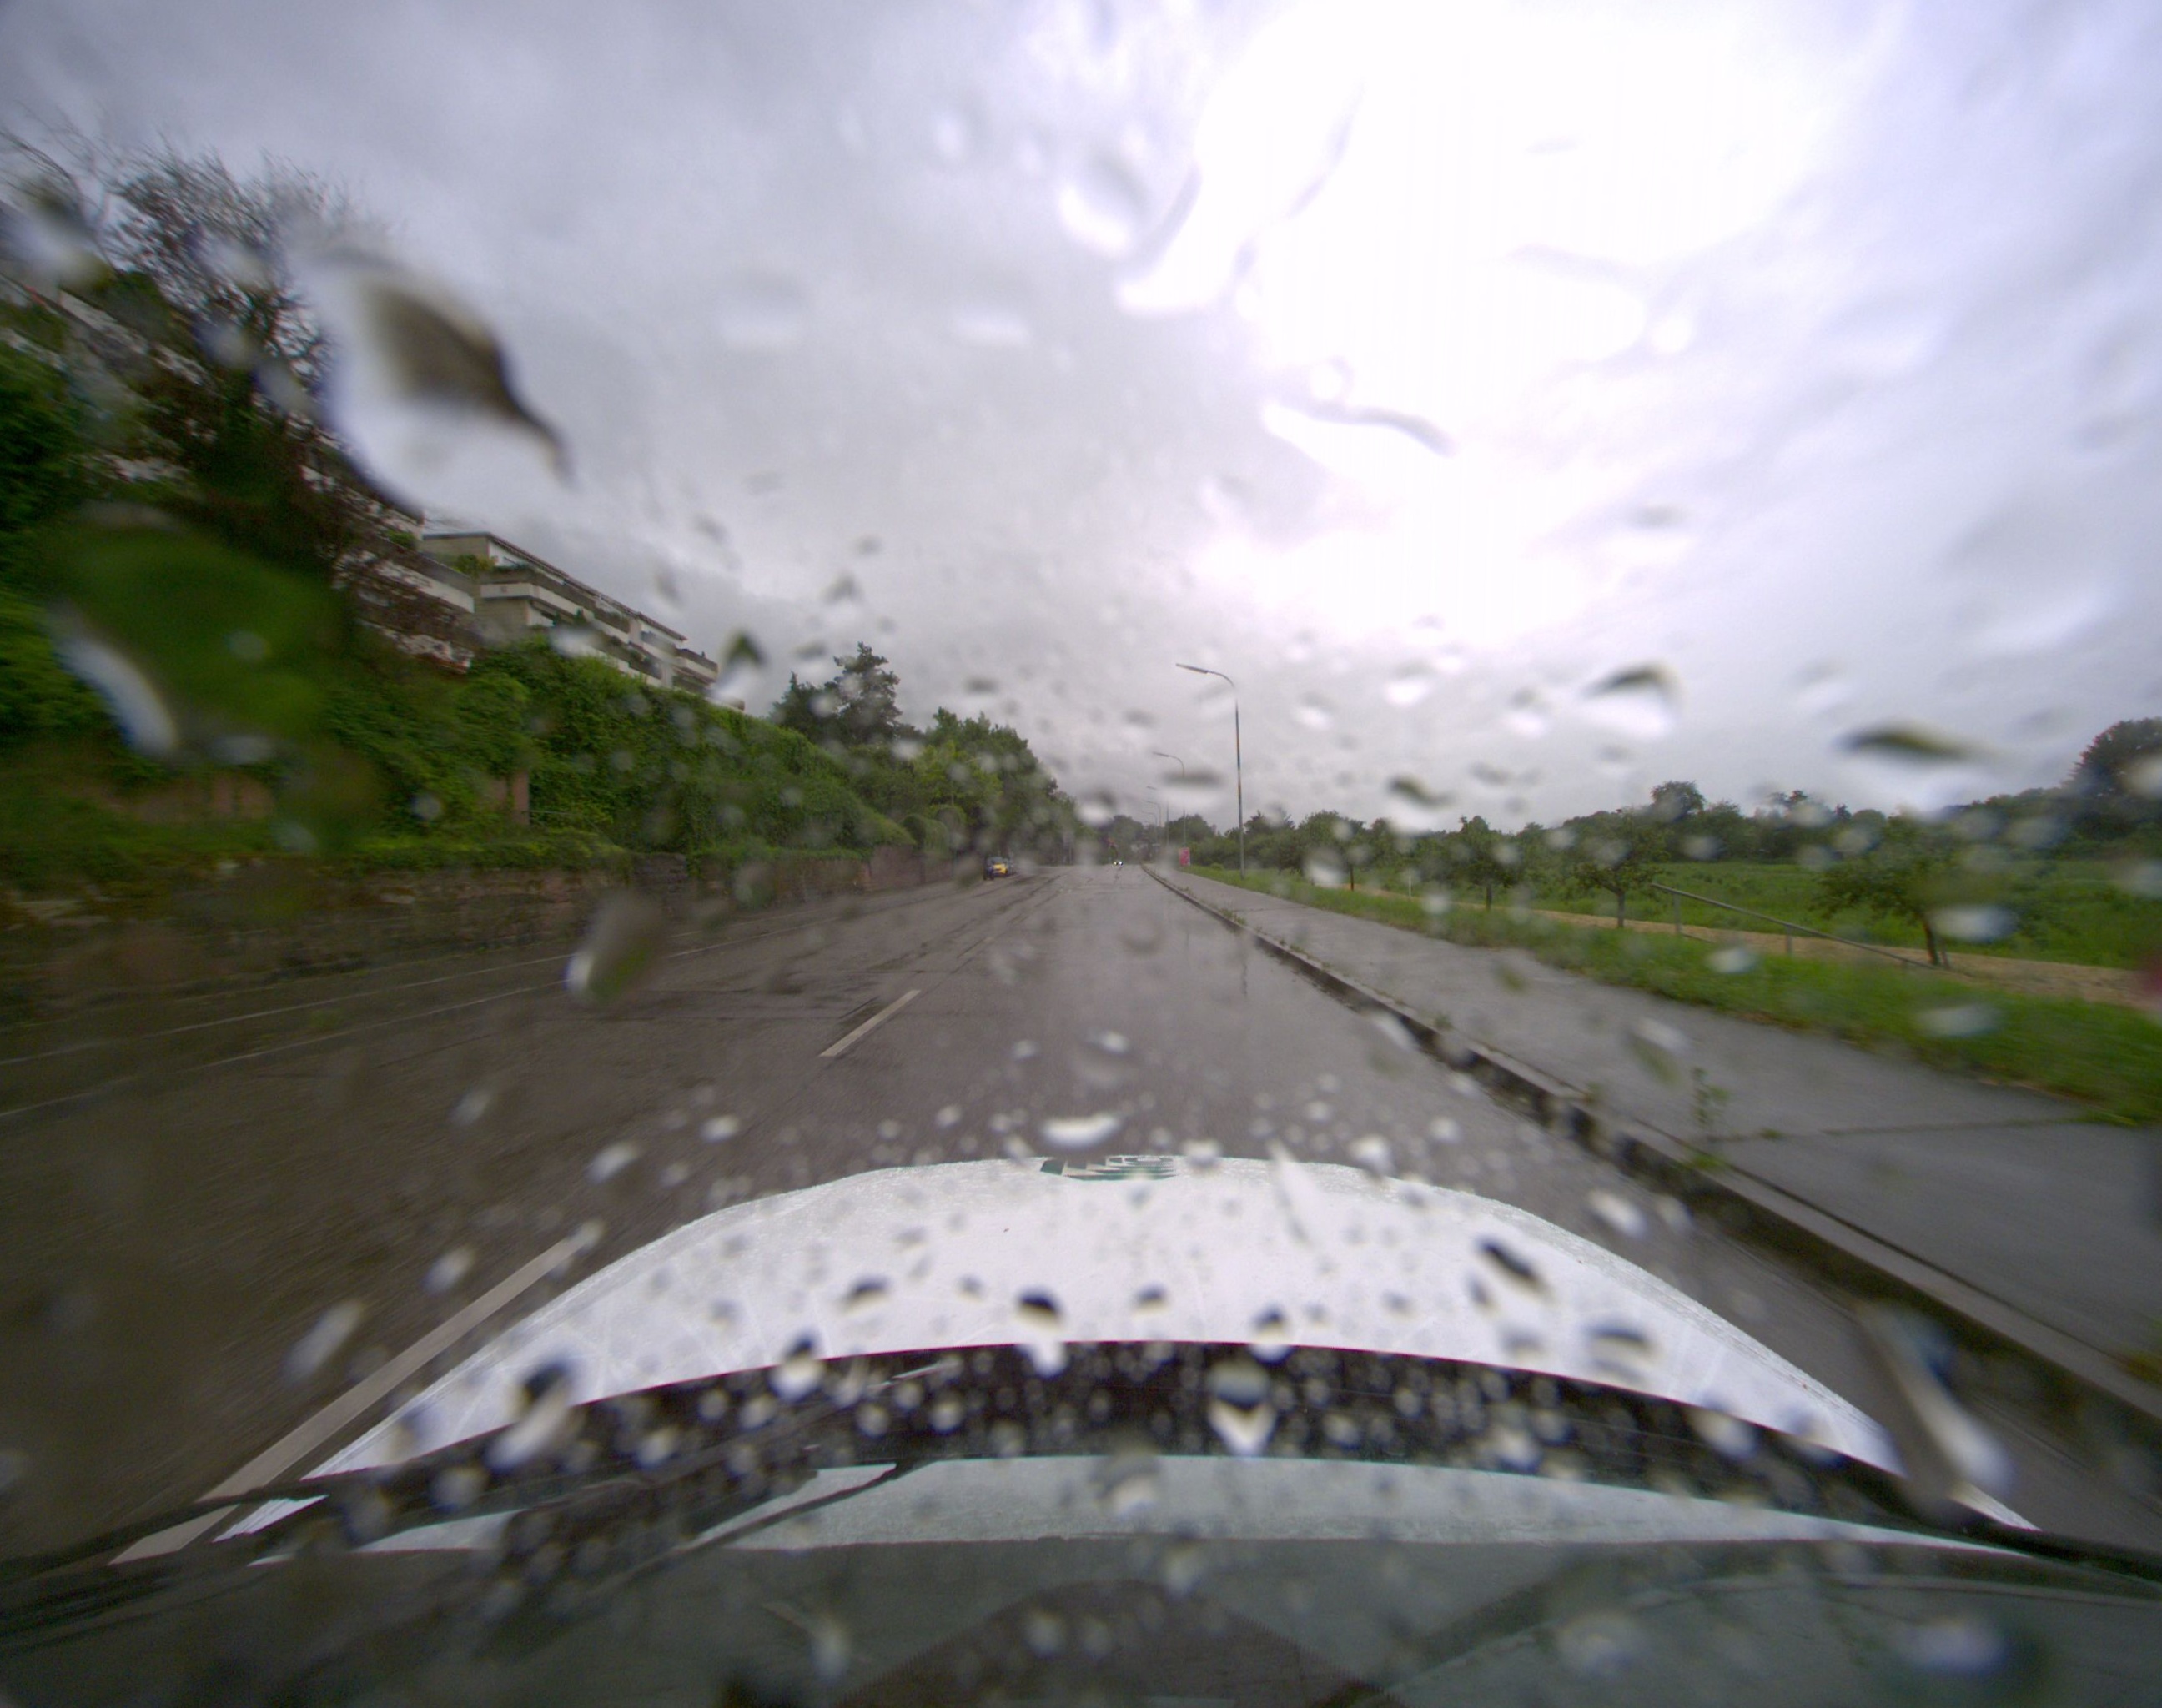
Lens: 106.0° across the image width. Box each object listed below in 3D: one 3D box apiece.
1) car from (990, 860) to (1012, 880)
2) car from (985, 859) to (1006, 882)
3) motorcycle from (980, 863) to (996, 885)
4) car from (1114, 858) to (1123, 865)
[{"bbox_3d":[-6.220,1.219,63.292,1.430,1.419,4.100,-2,0,-2],"label":"car"},{"bbox_3d":[-6.167,1.180,58.986,1.431,1.537,2.813,-2,0,-6],"label":"car"},{"bbox_3d":[-5.994,1.286,52.448,0.835,1.341,2.495,-2,0,-4],"label":"motorcycle"},{"bbox_3d":[9.875,2.016,215.333,1.782,1.762,4.013,-1,0,11],"label":"car"}]
